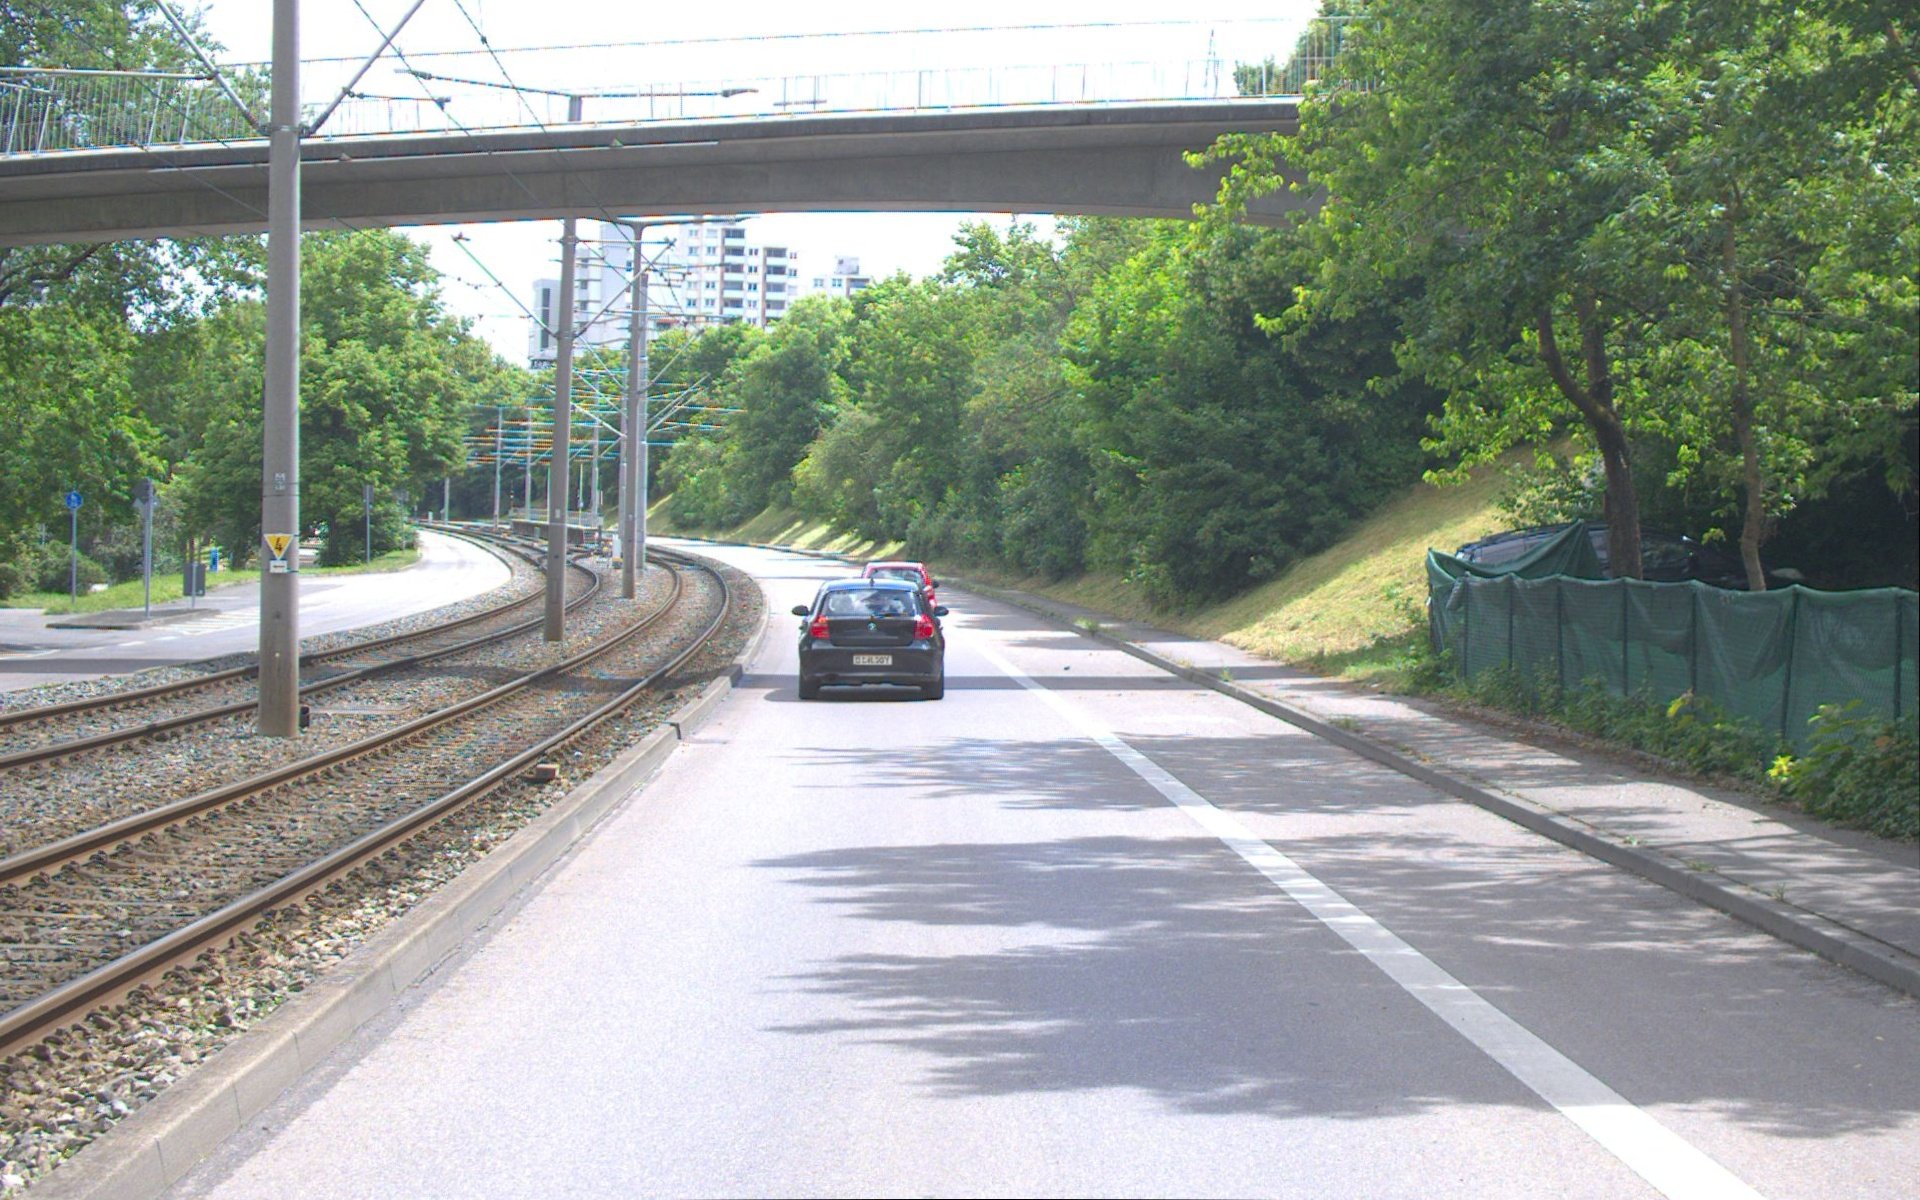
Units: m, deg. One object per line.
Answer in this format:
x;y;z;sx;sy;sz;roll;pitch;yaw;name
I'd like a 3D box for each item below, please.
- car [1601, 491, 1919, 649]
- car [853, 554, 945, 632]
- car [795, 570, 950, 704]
10.191;-0.367;41.405;4.524;1.666;2.000;-3;-1;2;car
-1.196;-0.124;68.545;1.624;1.438;3.421;3;-1;2;car
-1.042;0.408;41.465;1.708;1.455;3.960;3;0;-1;car
